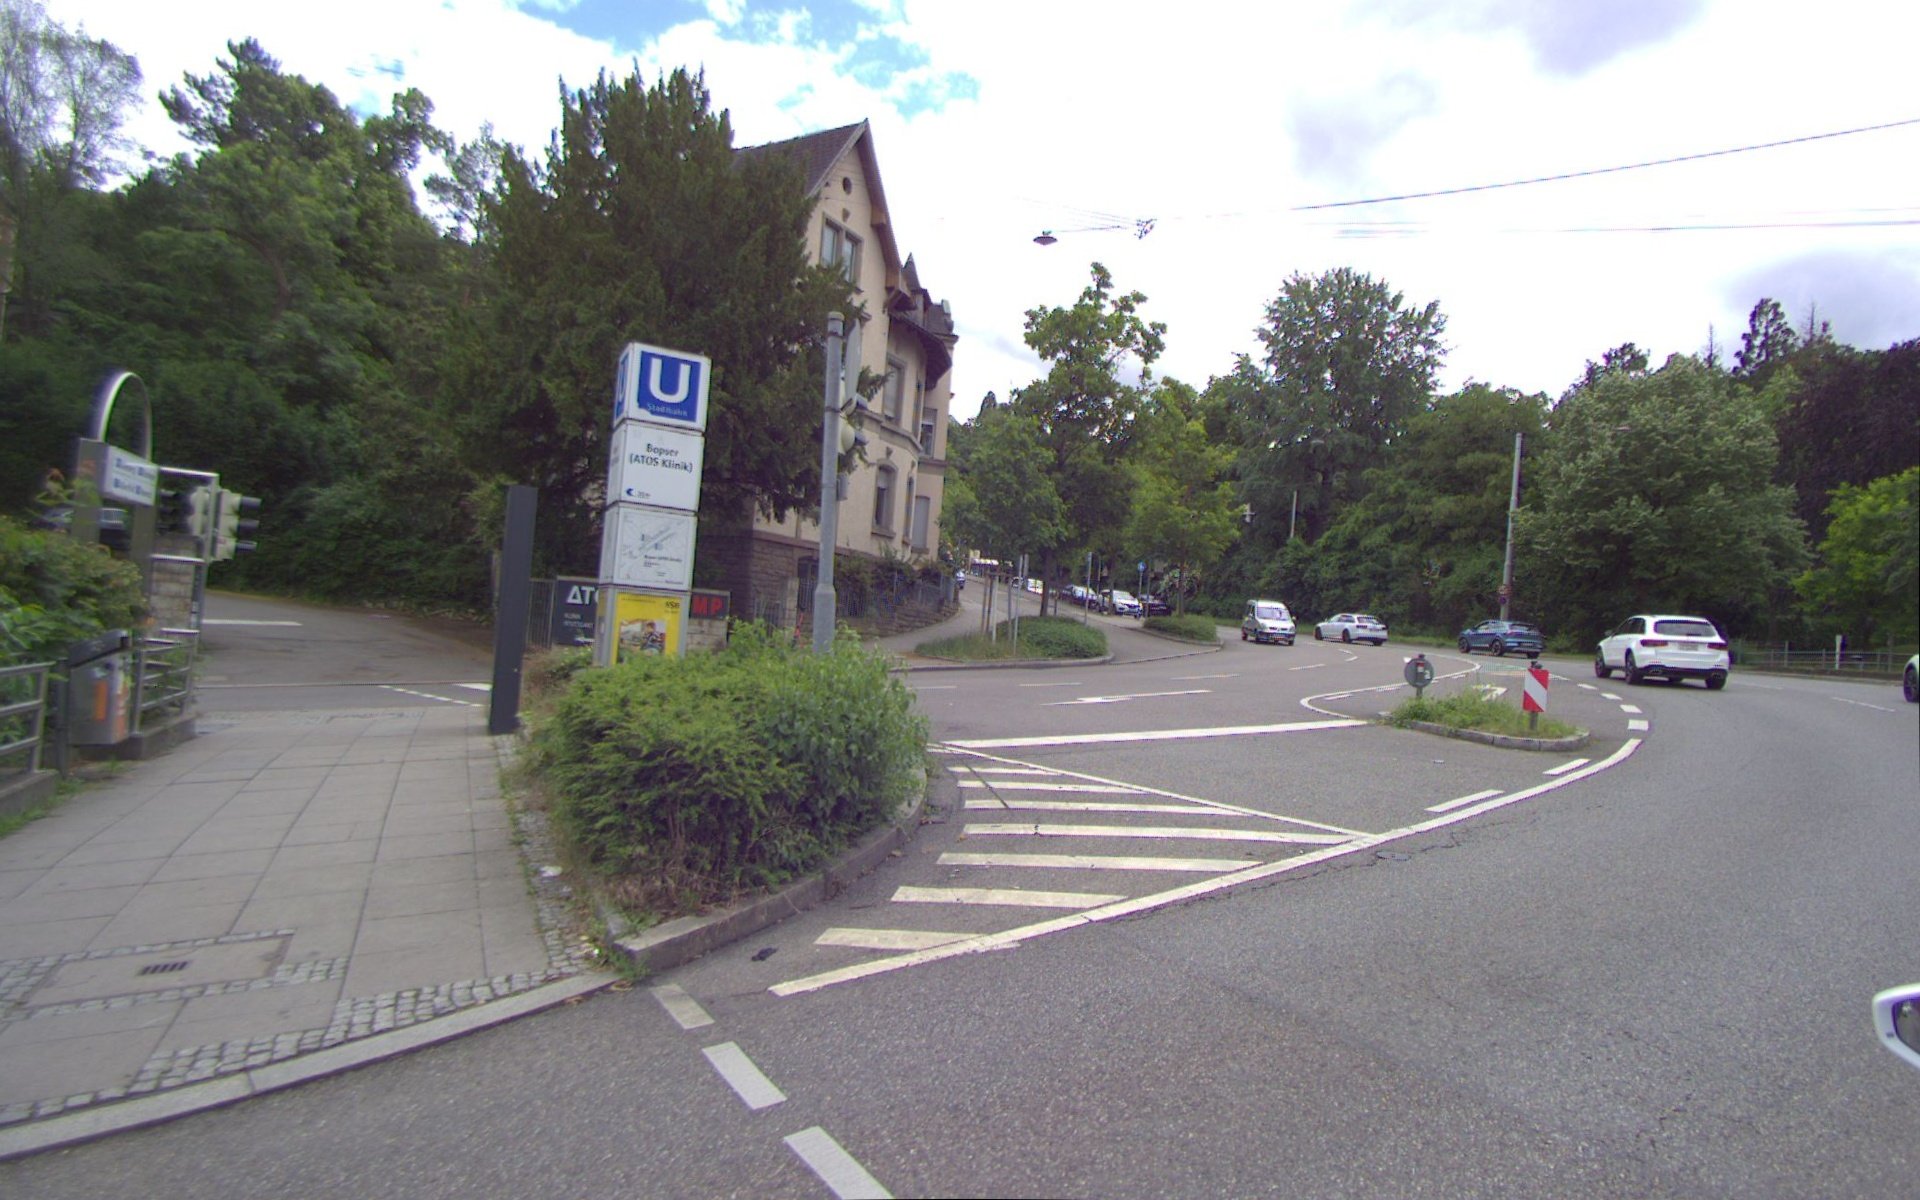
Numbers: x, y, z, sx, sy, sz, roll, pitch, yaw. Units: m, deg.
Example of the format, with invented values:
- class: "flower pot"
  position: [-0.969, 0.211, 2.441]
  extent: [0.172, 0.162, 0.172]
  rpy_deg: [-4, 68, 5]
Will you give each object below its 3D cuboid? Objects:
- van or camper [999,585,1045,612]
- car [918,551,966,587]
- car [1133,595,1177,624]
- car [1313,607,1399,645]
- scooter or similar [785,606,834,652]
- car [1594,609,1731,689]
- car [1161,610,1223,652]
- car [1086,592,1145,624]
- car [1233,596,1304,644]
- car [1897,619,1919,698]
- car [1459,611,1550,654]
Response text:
- class: "van or camper"
  position: [5.033, -0.148, 82.557]
  extent: [1.968, 1.920, 5.437]
  rpy_deg: [5, 0, -16]
- class: "car"
  position: [-1.109, -1.839, 58.134]
  extent: [1.966, 1.594, 3.990]
  rpy_deg: [7, 4, -11]
- class: "car"
  position: [14.287, 0.696, 73.914]
  extent: [1.963, 2.040, 3.994]
  rpy_deg: [1, 1, -8]
- class: "car"
  position: [19.639, 1.258, 50.072]
  extent: [2.213, 1.539, 4.303]
  rpy_deg: [5, 1, -5]
- class: "scooter or similar"
  position: [-4.011, 0.760, 26.846]
  extent: [1.196, 1.175, 0.547]
  rpy_deg: [-1, 3, -36]
- class: "car"
  position: [16.949, 1.093, 24.461]
  extent: [1.847, 1.674, 4.338]
  rpy_deg: [1, 1, 23]
- class: "car"
  position: [10.620, 1.391, 46.341]
  extent: [1.864, 1.676, 4.376]
  rpy_deg: [3, 1, 1]
- class: "car"
  position: [9.809, 0.461, 63.637]
  extent: [1.870, 1.815, 4.743]
  rpy_deg: [2, 1, -15]
- class: "car"
  position: [13.172, 0.826, 43.145]
  extent: [1.879, 1.855, 4.040]
  rpy_deg: [3, 1, 2]
- class: "car"
  position: [19.747, 1.211, 19.105]
  extent: [1.837, 1.577, 3.888]
  rpy_deg: [2, 1, 29]
- class: "car"
  position: [23.939, 1.395, 44.310]
  extent: [1.830, 1.654, 3.959]
  rpy_deg: [2, 1, 0]
